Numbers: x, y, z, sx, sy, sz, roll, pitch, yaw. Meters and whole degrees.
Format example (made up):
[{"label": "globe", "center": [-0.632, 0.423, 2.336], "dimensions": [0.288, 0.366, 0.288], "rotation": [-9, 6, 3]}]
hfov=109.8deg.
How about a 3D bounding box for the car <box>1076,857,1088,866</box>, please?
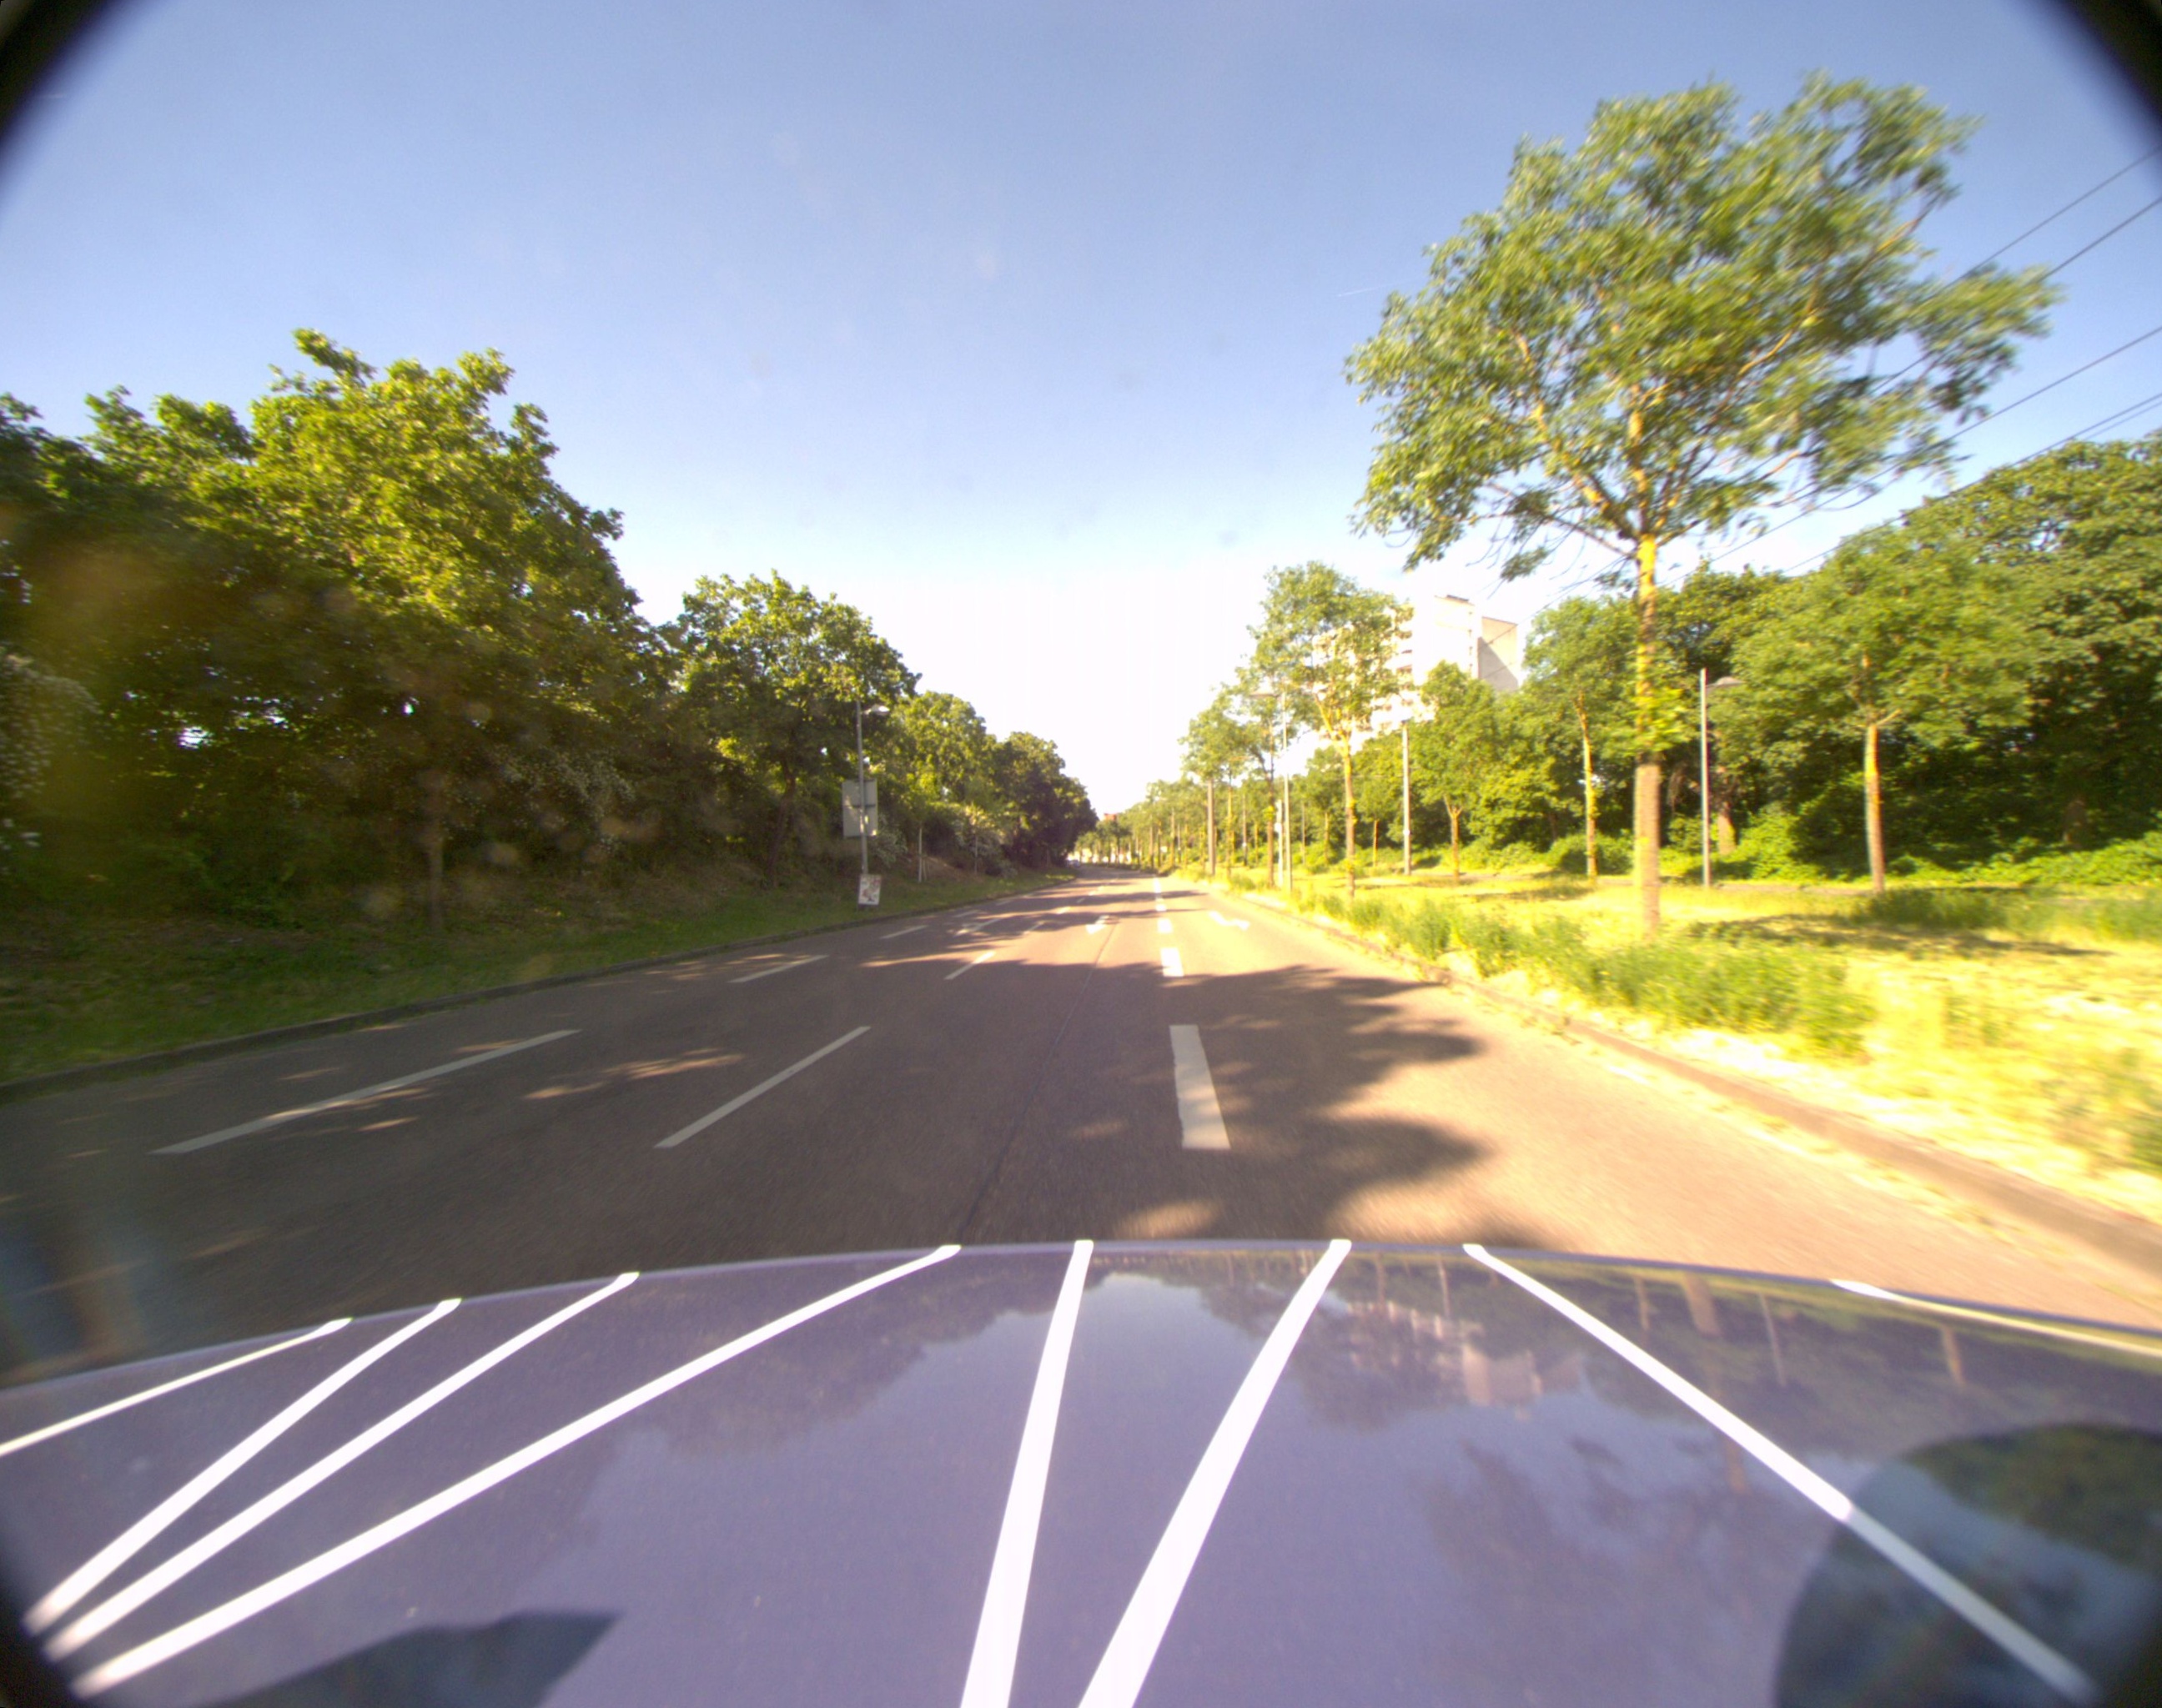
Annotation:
[{"label": "car", "center": [0.168, 1.415, 139.632], "dimensions": [1.672, 1.531, 4.062], "rotation": [-4, 0, 6]}]
